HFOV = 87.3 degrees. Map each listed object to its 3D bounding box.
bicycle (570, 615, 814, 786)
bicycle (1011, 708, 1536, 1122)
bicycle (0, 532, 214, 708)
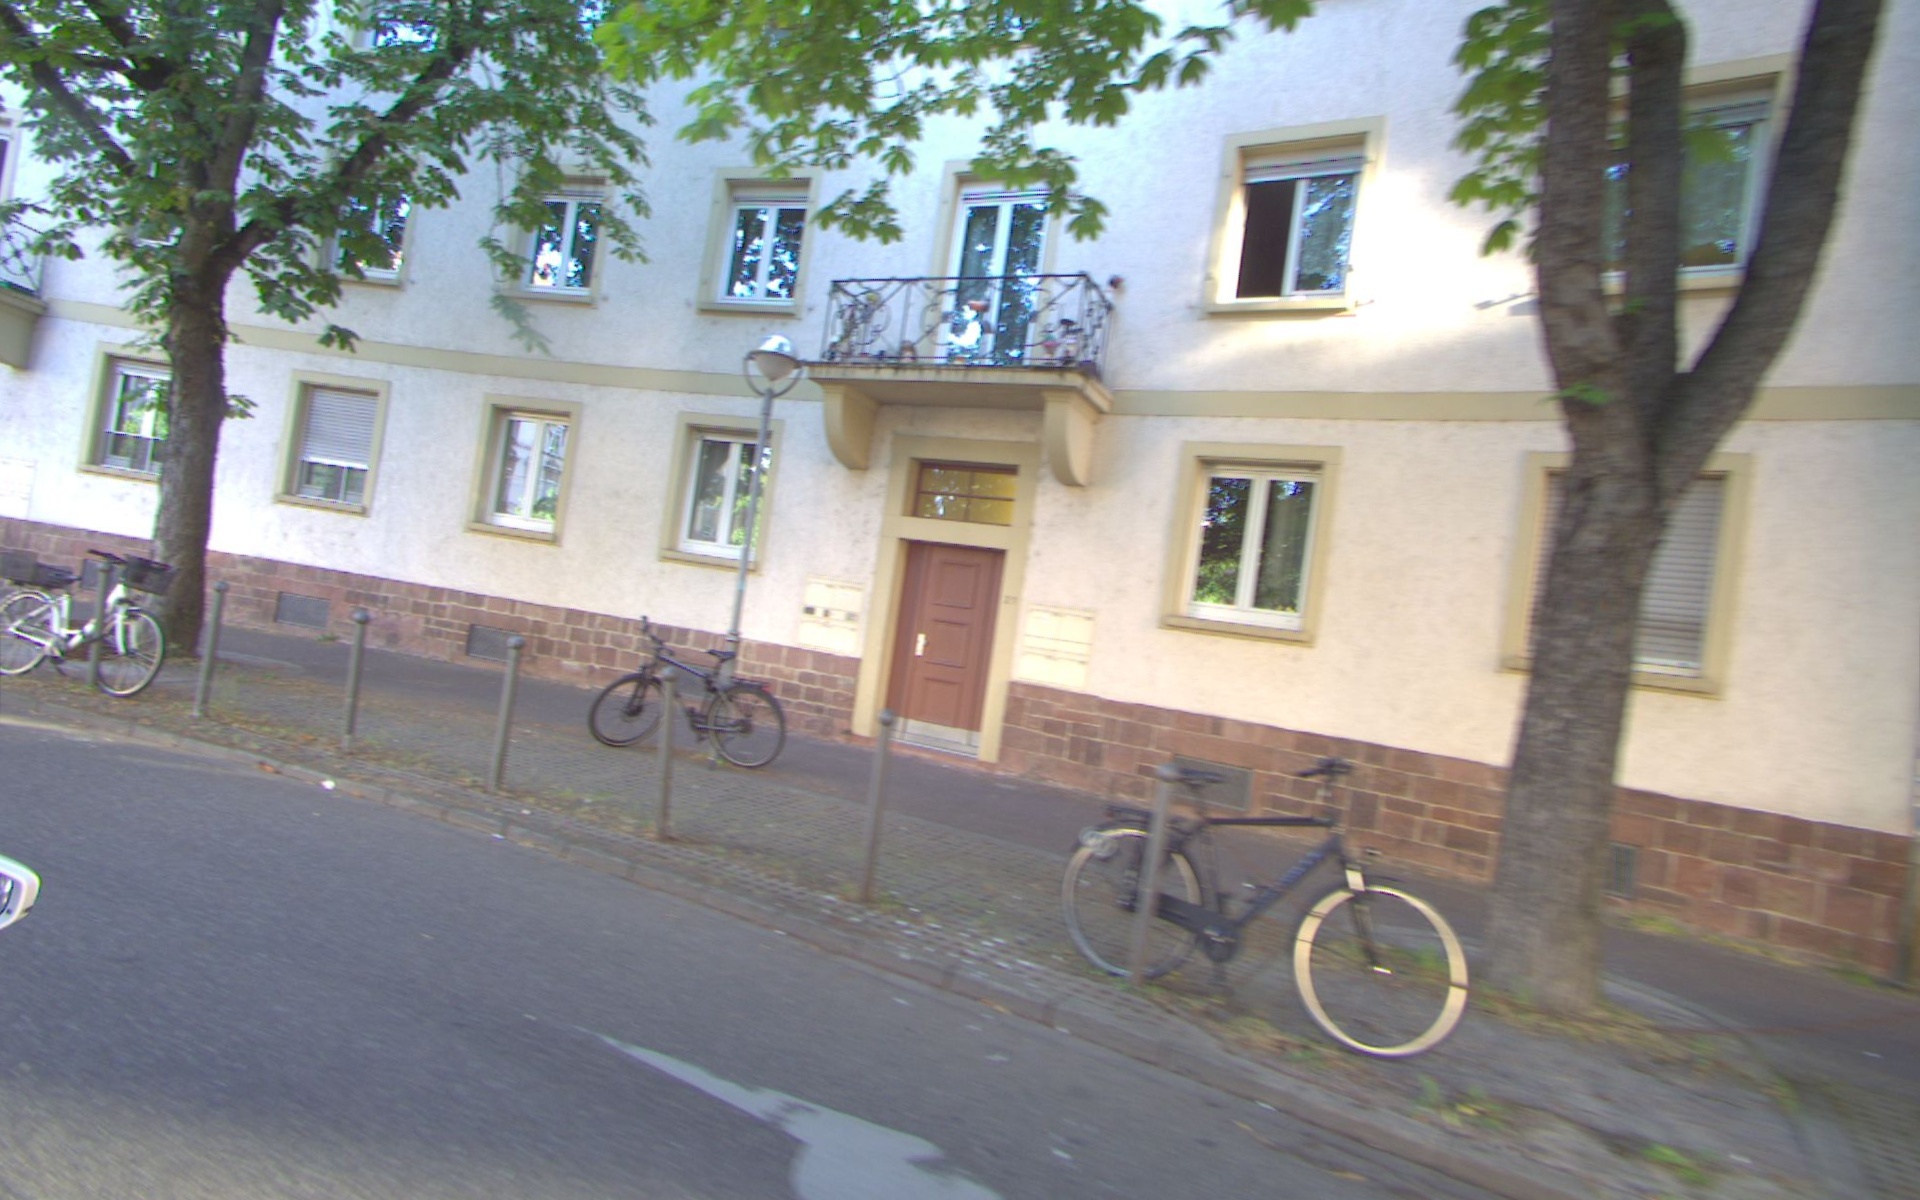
[{"bbox_3d":[-2.257,0.830,8.606,1.788,1.197,0.673,7,1,2],"label":"bicycle"},{"bbox_3d":[1.316,1.213,4.399,1.967,1.172,0.681,7,-1,31],"label":"bicycle"},{"bbox_3d":[-7.180,0.128,8.127,1.954,1.127,0.618,8,2,11],"label":"bicycle"}]
